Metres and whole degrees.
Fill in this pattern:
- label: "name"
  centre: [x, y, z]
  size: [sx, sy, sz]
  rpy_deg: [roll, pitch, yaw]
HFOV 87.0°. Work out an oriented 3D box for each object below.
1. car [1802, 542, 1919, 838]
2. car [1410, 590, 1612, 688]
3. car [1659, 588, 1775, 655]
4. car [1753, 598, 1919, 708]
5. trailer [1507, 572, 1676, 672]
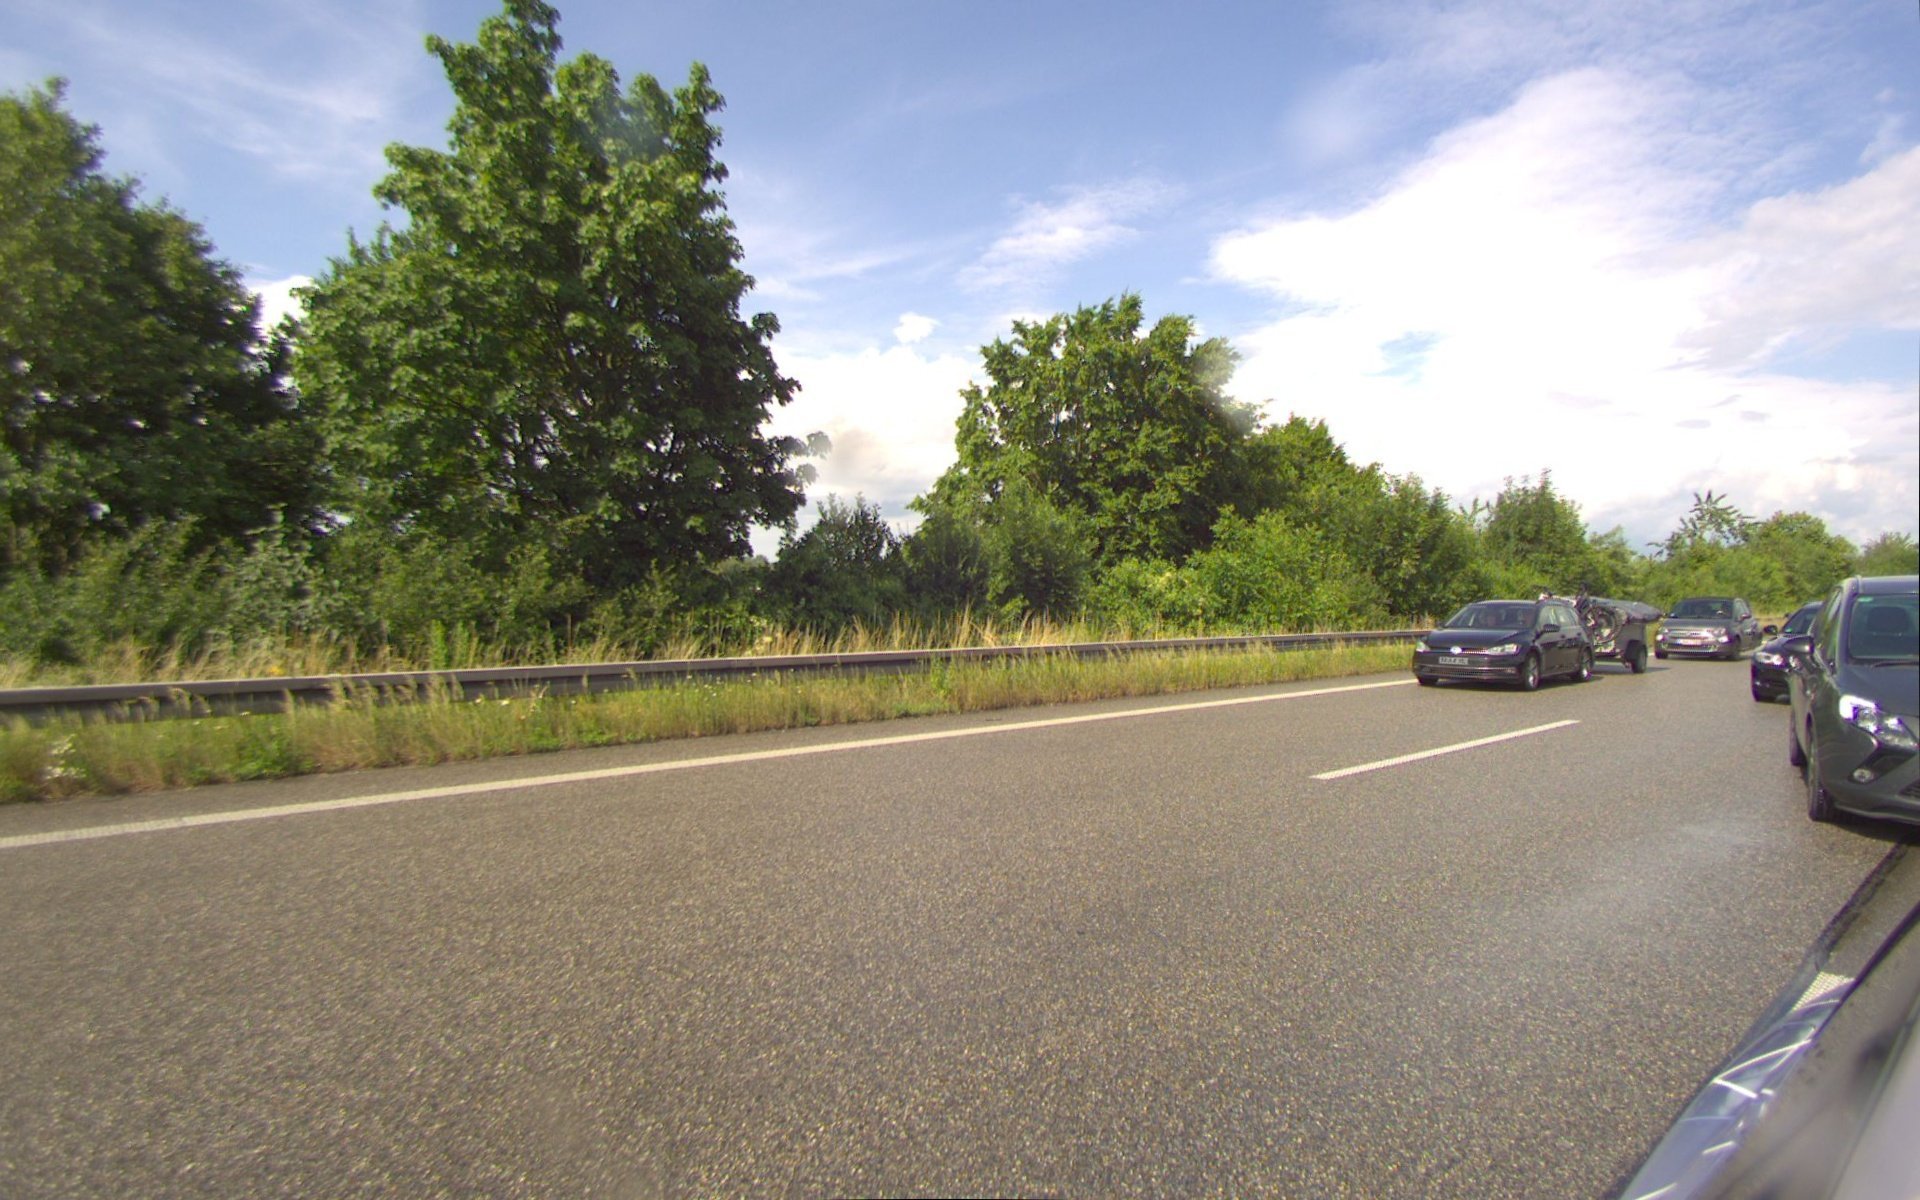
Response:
- label: "car"
  centre: [7.238, 0.498, 7.124]
  size: [1.852, 1.652, 4.664]
  rpy_deg: [1, 1, 42]
- label: "car"
  centre: [9.418, 0.562, 17.143]
  size: [4.330, 1.449, 1.745]
  rpy_deg: [0, 1, -43]
- label: "car"
  centre: [18.375, 0.467, 24.528]
  size: [3.421, 1.507, 1.614]
  rpy_deg: [0, 1, -42]
- label: "car"
  centre: [13.092, 0.676, 14.743]
  size: [3.815, 1.371, 1.721]
  rpy_deg: [0, 0, -41]
- label: "trailer"
  centre: [12.471, 0.381, 19.904]
  size: [3.899, 1.768, 1.808]
  rpy_deg: [0, 0, -42]
